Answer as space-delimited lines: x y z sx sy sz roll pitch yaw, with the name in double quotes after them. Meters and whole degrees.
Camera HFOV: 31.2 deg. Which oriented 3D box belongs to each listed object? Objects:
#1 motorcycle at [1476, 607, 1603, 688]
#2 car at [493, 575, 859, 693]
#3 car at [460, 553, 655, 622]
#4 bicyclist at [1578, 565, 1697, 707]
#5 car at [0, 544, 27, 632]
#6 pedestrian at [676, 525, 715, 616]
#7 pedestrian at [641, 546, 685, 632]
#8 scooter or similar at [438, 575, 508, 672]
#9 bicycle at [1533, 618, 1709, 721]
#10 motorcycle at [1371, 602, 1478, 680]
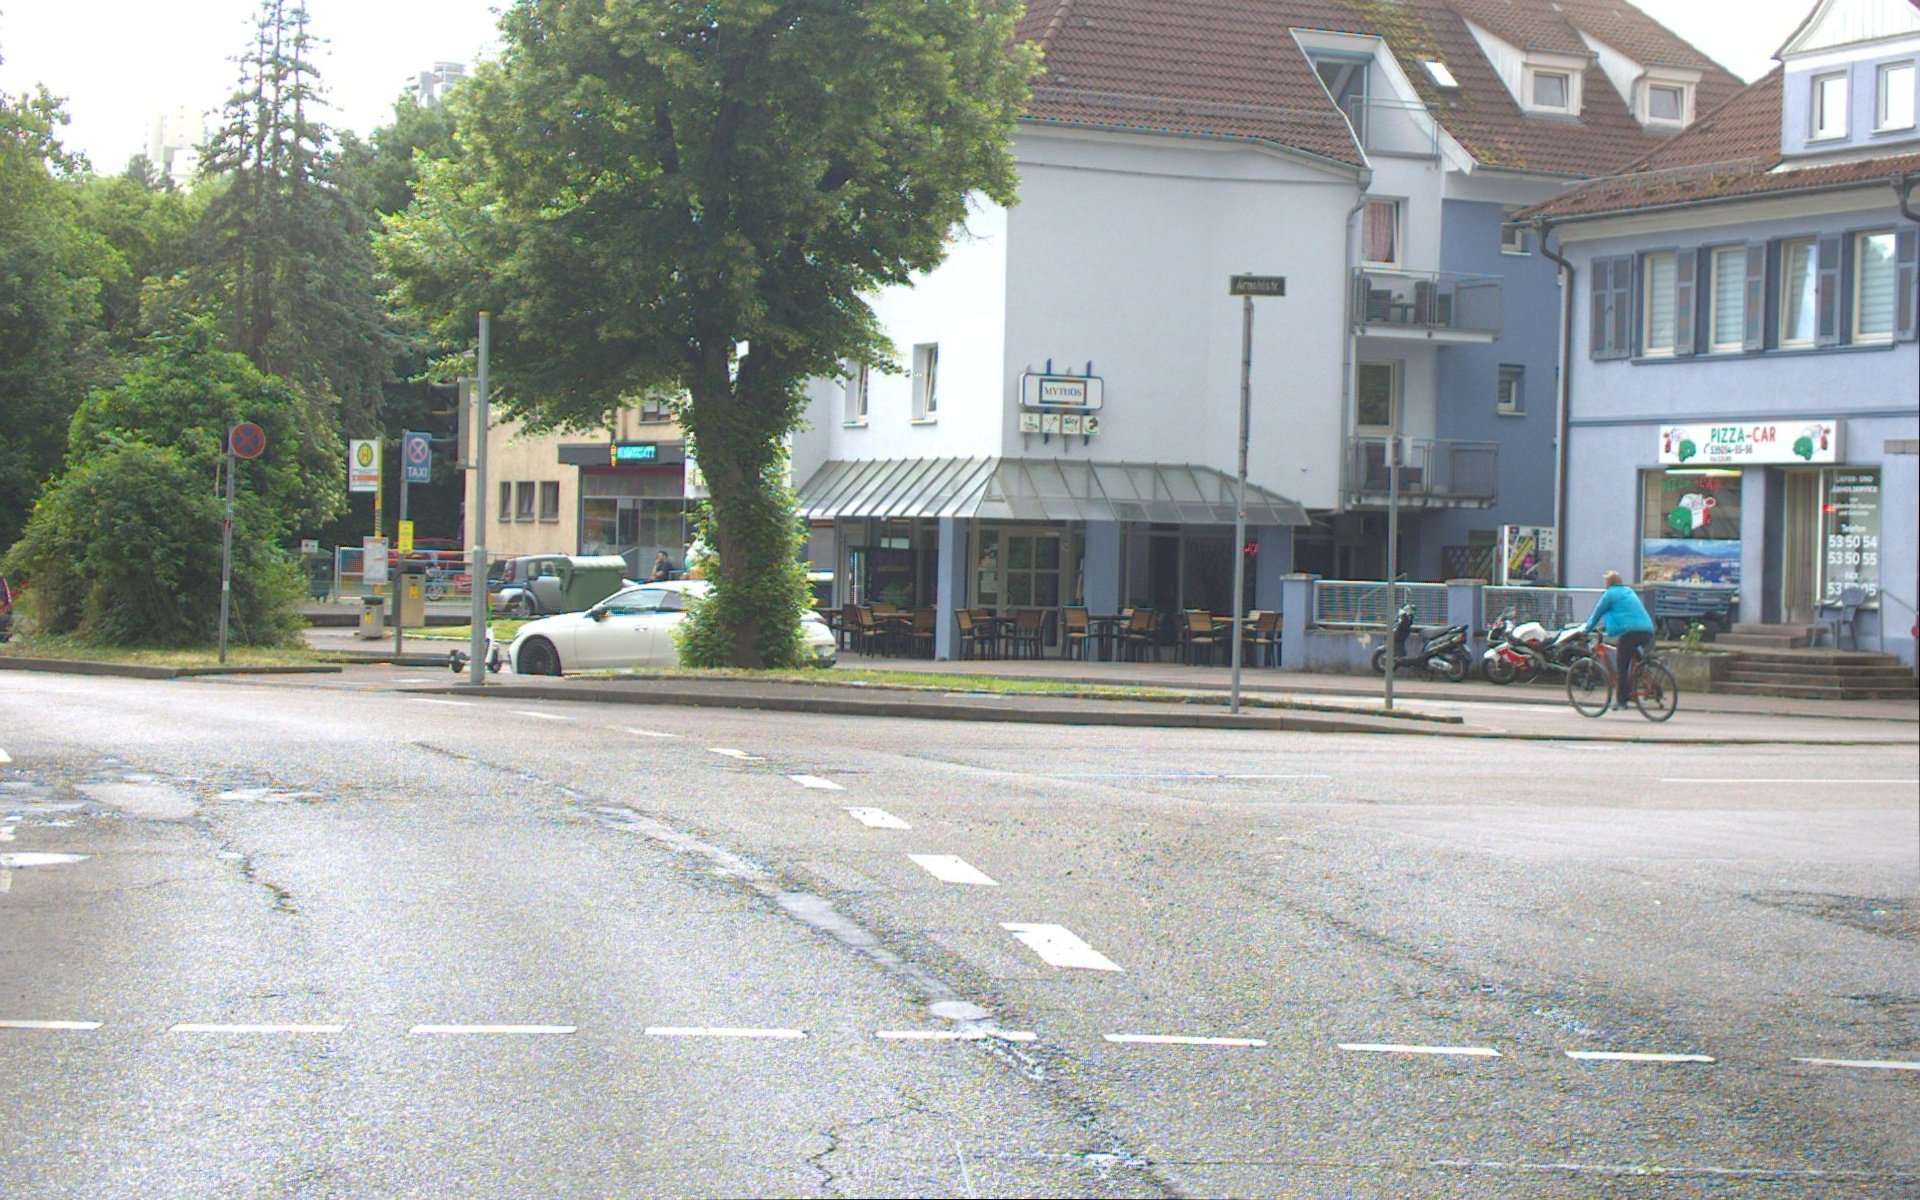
8.147 0.661 48.363 1.628 1.085 0.626 1 1 32 "motorcycle"
-3.807 0.419 45.758 4.709 1.405 1.898 2 1 35 "car"
-8.861 -0.274 75.627 3.936 1.437 1.753 1 1 -20 "car"
8.043 0.417 40.827 0.915 1.646 0.988 1 1 -38 "bicyclist"
-16.423 -0.220 53.517 3.322 1.347 1.778 1 1 27 "car"
-4.550 -0.502 59.225 0.543 1.554 0.467 0 0 13 "pedestrian"
-6.980 -0.263 80.792 0.837 2.007 1.056 1 1 -14 "pedestrian"
-6.032 0.281 42.614 0.442 1.171 1.437 1 1 9 "scooter or similar"
7.866 0.817 40.997 0.874 1.145 1.952 1 1 -38 "bicycle"
6.771 0.589 50.132 1.458 1.085 0.523 1 1 35 "motorcycle"
